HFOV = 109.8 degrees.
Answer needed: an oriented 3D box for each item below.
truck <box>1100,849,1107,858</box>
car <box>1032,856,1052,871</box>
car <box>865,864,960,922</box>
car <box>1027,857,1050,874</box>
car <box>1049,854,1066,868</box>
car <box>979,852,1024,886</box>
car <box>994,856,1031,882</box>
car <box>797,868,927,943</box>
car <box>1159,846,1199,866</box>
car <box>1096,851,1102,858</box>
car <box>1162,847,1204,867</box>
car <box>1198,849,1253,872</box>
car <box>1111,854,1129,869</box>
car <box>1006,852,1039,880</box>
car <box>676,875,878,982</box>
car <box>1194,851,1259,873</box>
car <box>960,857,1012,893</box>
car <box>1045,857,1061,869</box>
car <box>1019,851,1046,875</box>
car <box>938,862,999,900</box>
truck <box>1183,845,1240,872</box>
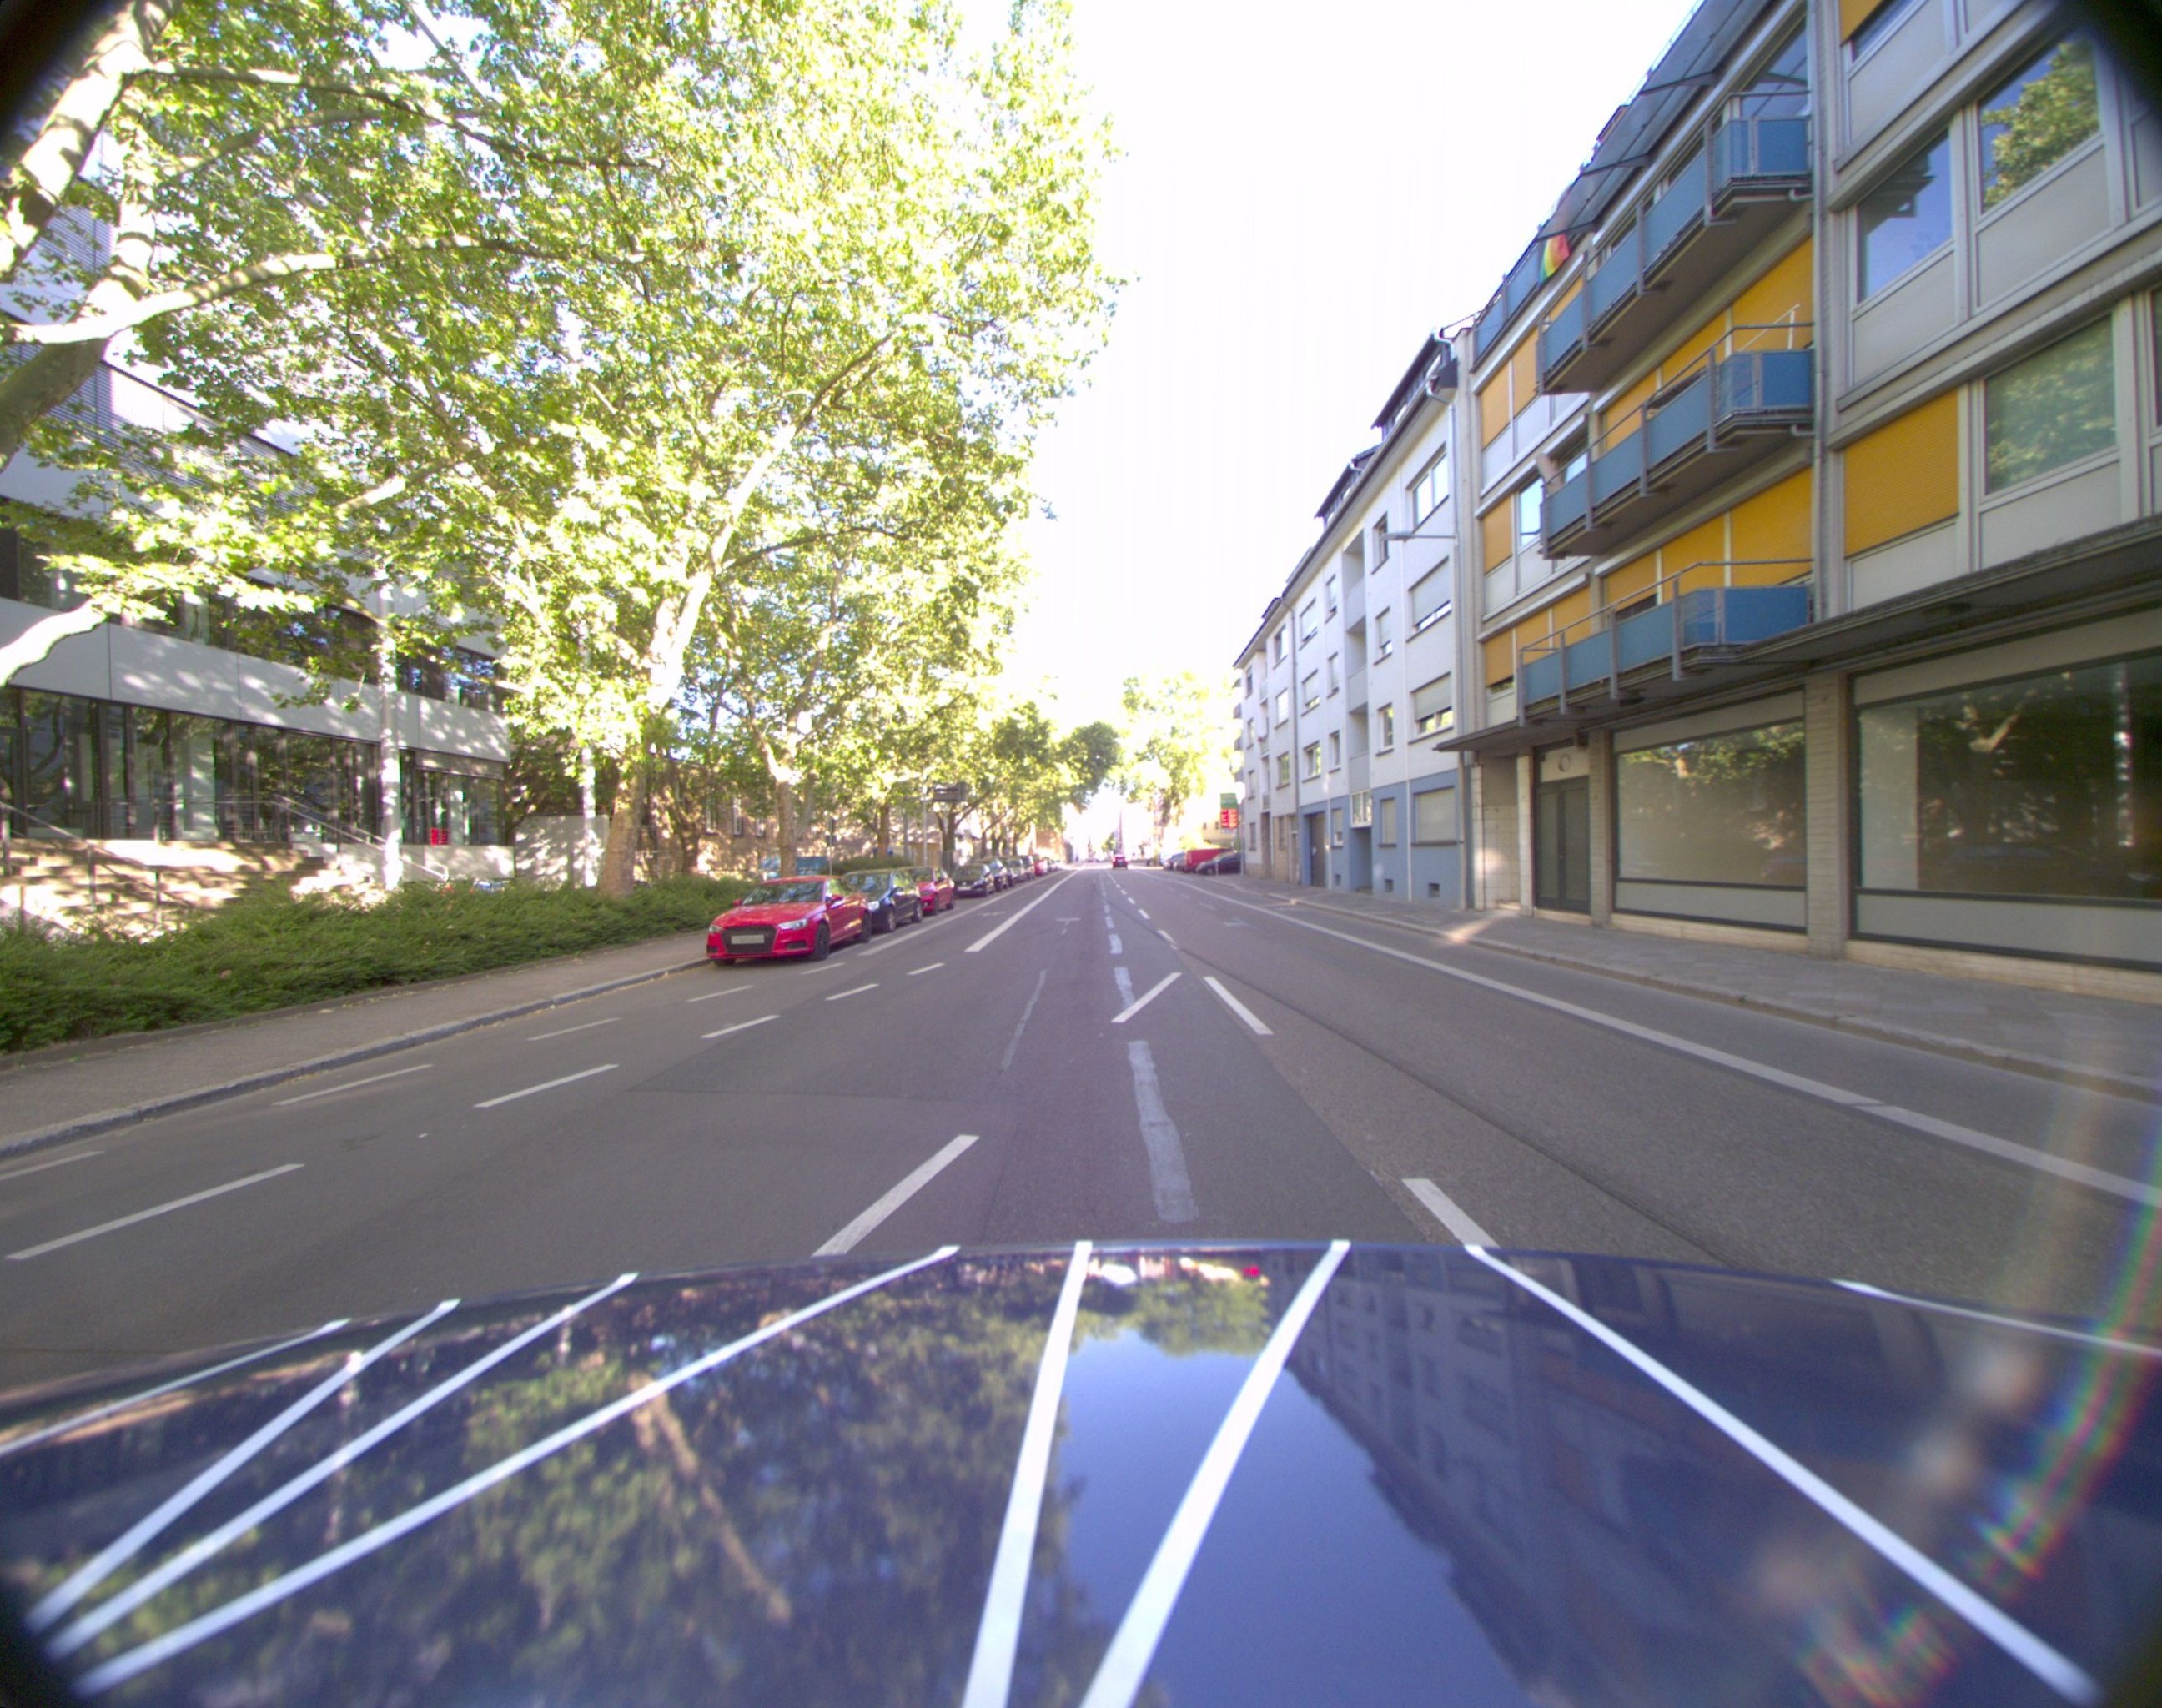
[{"bbox_3d":[6.887,-0.304,233.811,1.998,2.653,5.314,-2,1,0],"label":"truck"},{"bbox_3d":[-4.132,0.984,80.737,1.824,1.466,3.999,-2,1,1],"label":"car"},{"bbox_3d":[-5.124,1.147,23.658,1.998,1.490,3.828,-2,1,1],"label":"car"},{"bbox_3d":[-4.031,1.079,71.985,1.824,1.466,3.999,-2,1,1],"label":"car"},{"bbox_3d":[-3.178,0.902,102.996,1.998,1.682,3.999,-2,1,1],"label":"car"},{"bbox_3d":[-4.602,0.836,44.505,1.998,1.777,4.572,-2,1,1],"label":"car"},{"bbox_3d":[-4.555,0.954,50.867,1.998,1.557,4.142,-2,1,1],"label":"car"},{"bbox_3d":[-5.166,1.166,18.436,1.998,1.452,3.644,-2,1,1],"label":"car"},{"bbox_3d":[10.956,0.216,85.301,4.236,2.025,2.000,-2,1,3],"label":"car"},{"bbox_3d":[6.176,0.182,259.442,1.998,2.002,3.999,-2,1,1],"label":"car"},{"bbox_3d":[10.869,0.283,80.901,4.236,1.945,2.000,-2,1,3],"label":"car"},{"bbox_3d":[10.807,0.450,57.102,3.810,1.563,1.658,-2,1,0],"label":"car"},{"bbox_3d":[4.471,0.856,87.630,1.847,1.668,3.999,0,1,1],"label":"car"},{"bbox_3d":[-4.246,0.841,55.615,1.998,1.838,3.999,-2,1,1],"label":"car"},{"bbox_3d":[-5.183,1.195,13.626,1.907,1.417,3.999,-2,1,1],"label":"car"},{"bbox_3d":[10.461,0.572,54.771,4.324,1.398,1.658,-2,1,0],"label":"car"},{"bbox_3d":[-4.680,1.003,38.108,1.998,1.592,4.142,-2,1,1],"label":"car"},{"bbox_3d":[-3.341,1.066,92.725,1.693,1.364,3.999,-2,1,1],"label":"car"},{"bbox_3d":[-4.218,0.743,66.332,1.998,1.960,3.999,-2,1,1],"label":"car"},{"bbox_3d":[-4.833,1.129,33.167,1.998,1.447,3.589,-2,1,1],"label":"car"},{"bbox_3d":[10.292,0.320,60.203,4.092,1.913,2.000,-2,1,0],"label":"truck"}]
